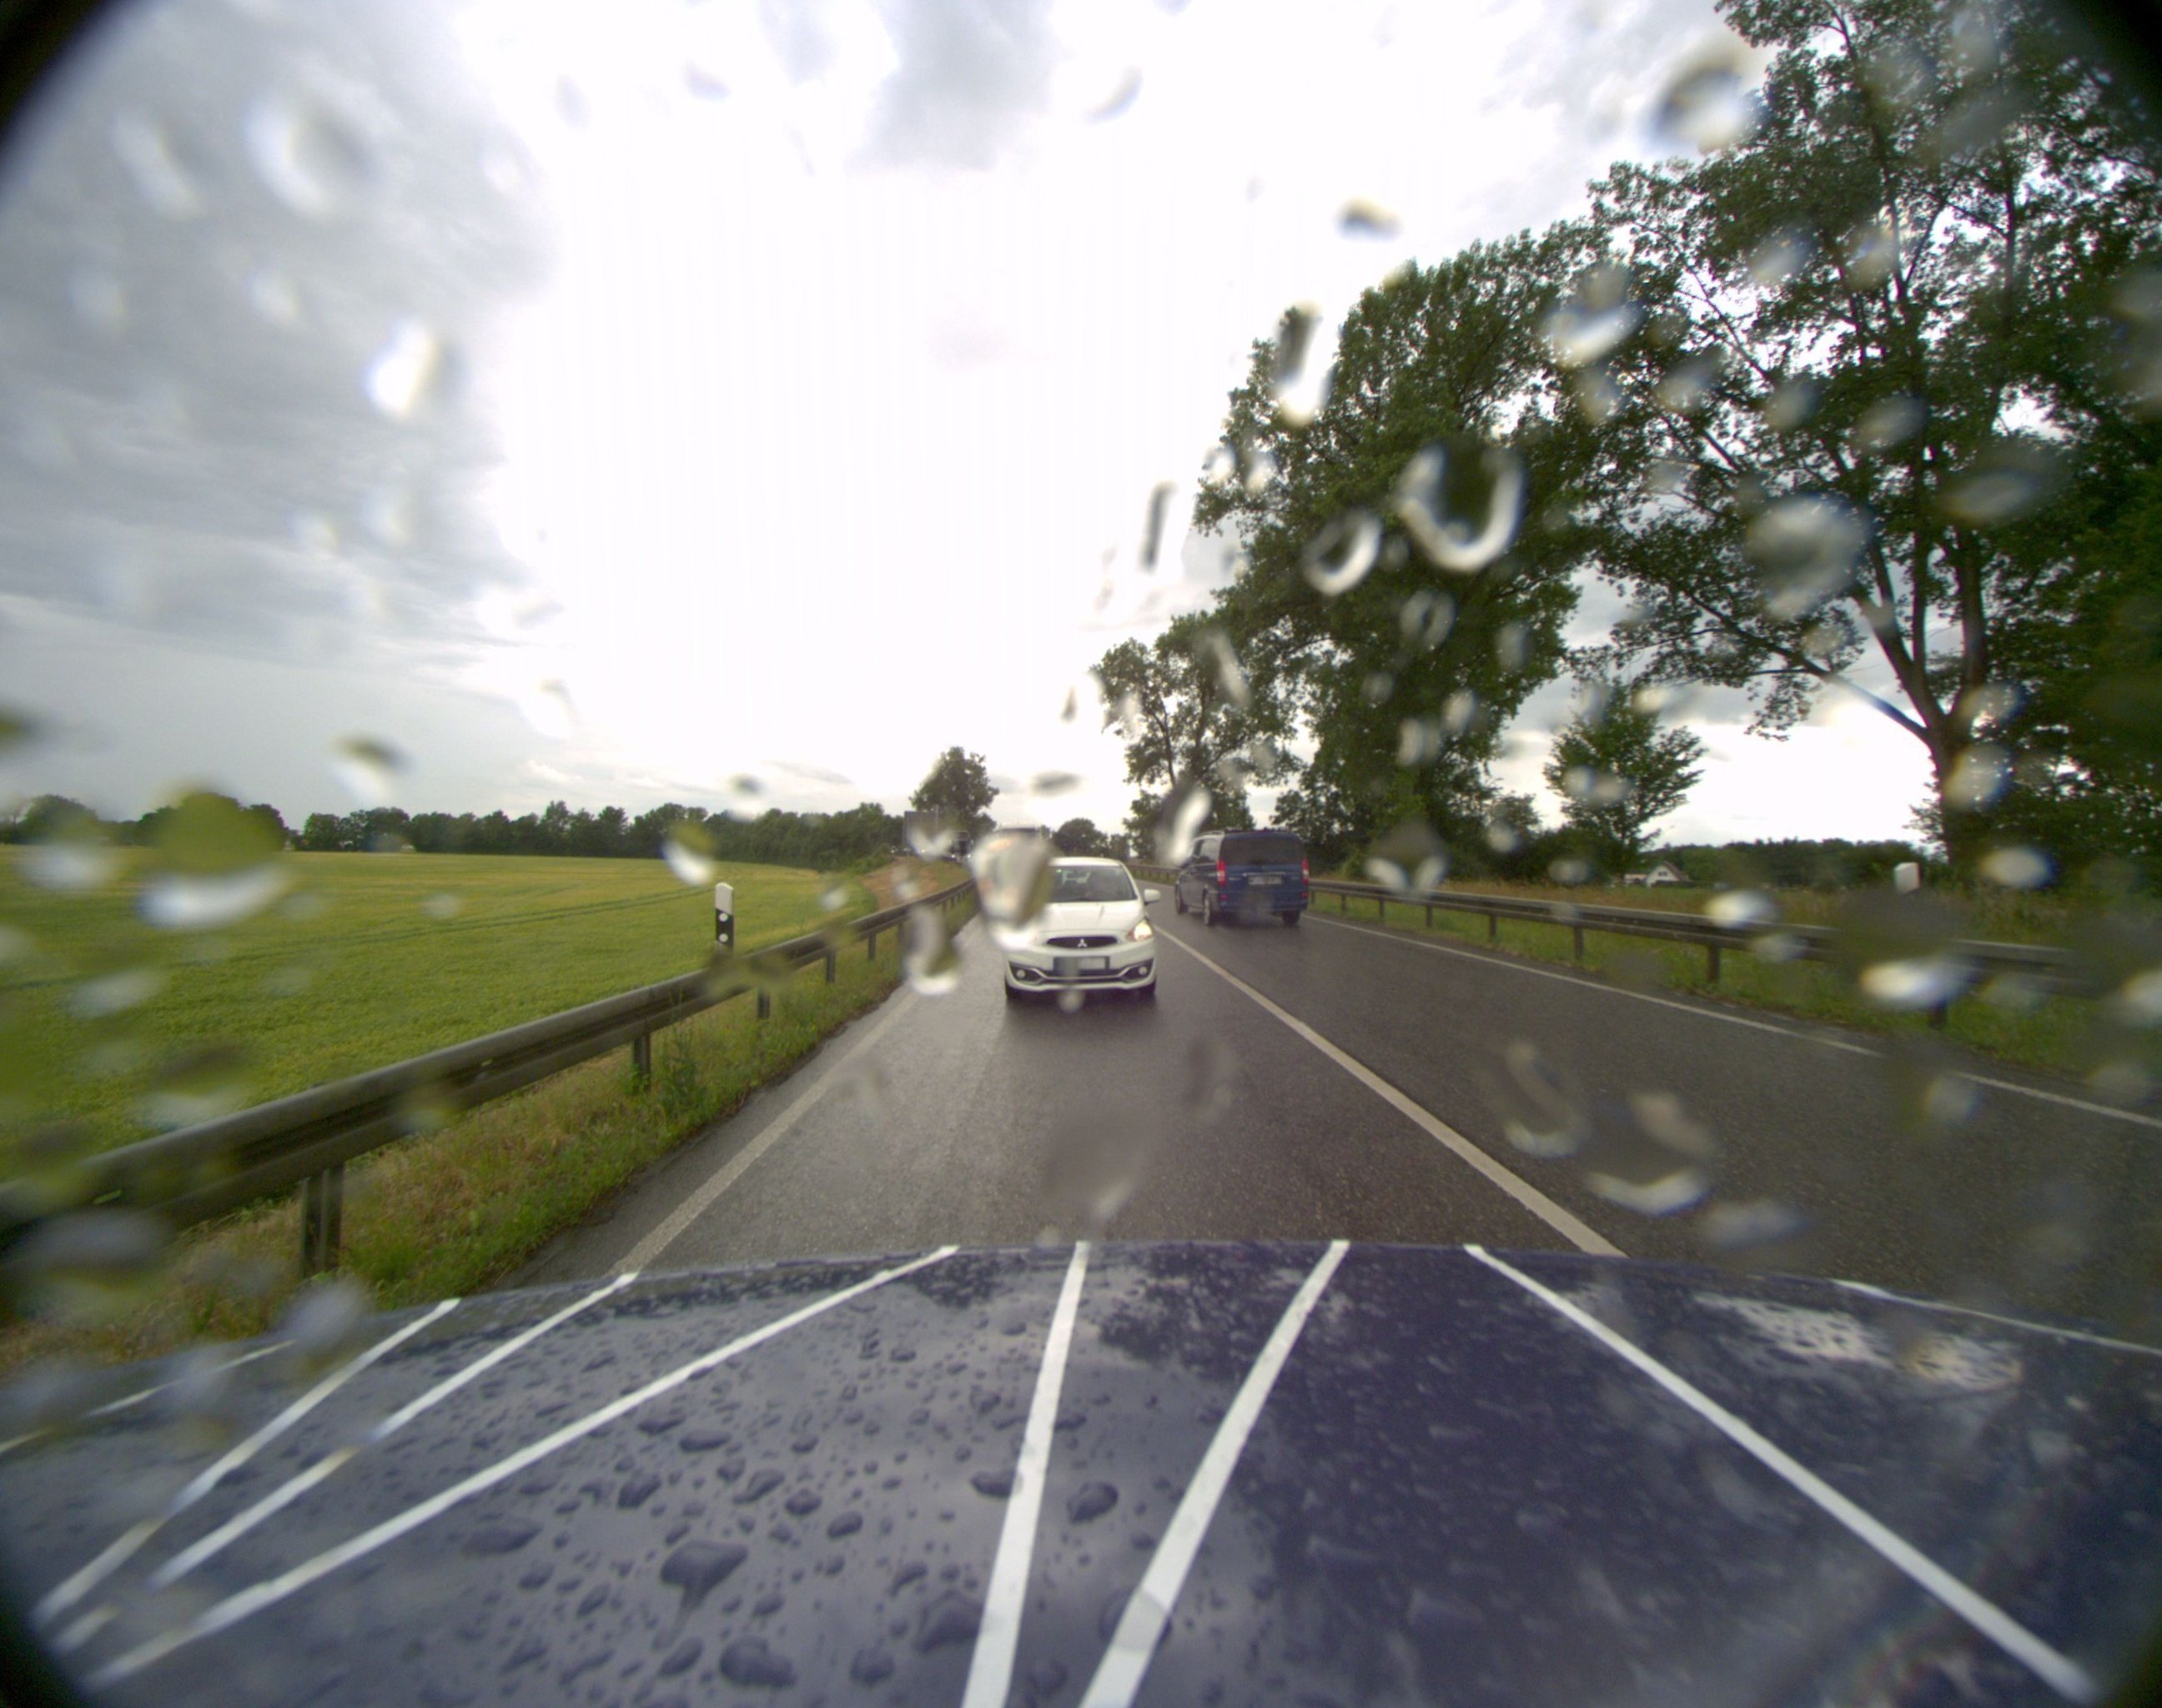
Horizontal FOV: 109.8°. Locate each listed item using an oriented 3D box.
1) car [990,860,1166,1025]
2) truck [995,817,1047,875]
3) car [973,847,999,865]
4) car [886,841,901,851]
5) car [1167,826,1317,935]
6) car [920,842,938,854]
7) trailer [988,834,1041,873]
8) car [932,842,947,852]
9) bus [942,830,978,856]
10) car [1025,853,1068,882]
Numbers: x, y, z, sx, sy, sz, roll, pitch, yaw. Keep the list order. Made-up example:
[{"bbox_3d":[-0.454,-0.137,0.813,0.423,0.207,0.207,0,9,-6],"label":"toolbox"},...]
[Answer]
[{"bbox_3d":[-0.129,0.864,9.359,1.653,1.461,4.028,-2,1,-3],"label":"car"},{"bbox_3d":[-4.188,-0.544,51.849,2.986,3.589,6.075,-2,1,-9],"label":"truck"},{"bbox_3d":[-10.069,0.175,80.386,2.044,1.832,5.329,-2,1,-14],"label":"car"},{"bbox_3d":[-42.398,-1.843,171.905,2.003,2.002,4.305,-3,1,-31],"label":"car"},{"bbox_3d":[3.325,0.465,16.782,1.968,2.002,4.858,-2,1,-3],"label":"car"},{"bbox_3d":[-27.721,-1.024,138.158,2.002,2.002,5.325,-2,1,-24],"label":"car"},{"bbox_3d":[-5.534,-0.086,60.309,2.986,2.618,15.667,-2,1,-9],"label":"trailer"},{"bbox_3d":[-23.322,-1.145,124.889,1.816,1.569,3.993,-2,1,-18],"label":"car"},{"bbox_3d":[-17.167,-1.590,107.070,2.967,3.294,14.813,-2,2,-16],"label":"bus"},{"bbox_3d":[-1.878,0.666,39.711,1.782,1.380,4.325,-2,1,-8],"label":"car"}]
